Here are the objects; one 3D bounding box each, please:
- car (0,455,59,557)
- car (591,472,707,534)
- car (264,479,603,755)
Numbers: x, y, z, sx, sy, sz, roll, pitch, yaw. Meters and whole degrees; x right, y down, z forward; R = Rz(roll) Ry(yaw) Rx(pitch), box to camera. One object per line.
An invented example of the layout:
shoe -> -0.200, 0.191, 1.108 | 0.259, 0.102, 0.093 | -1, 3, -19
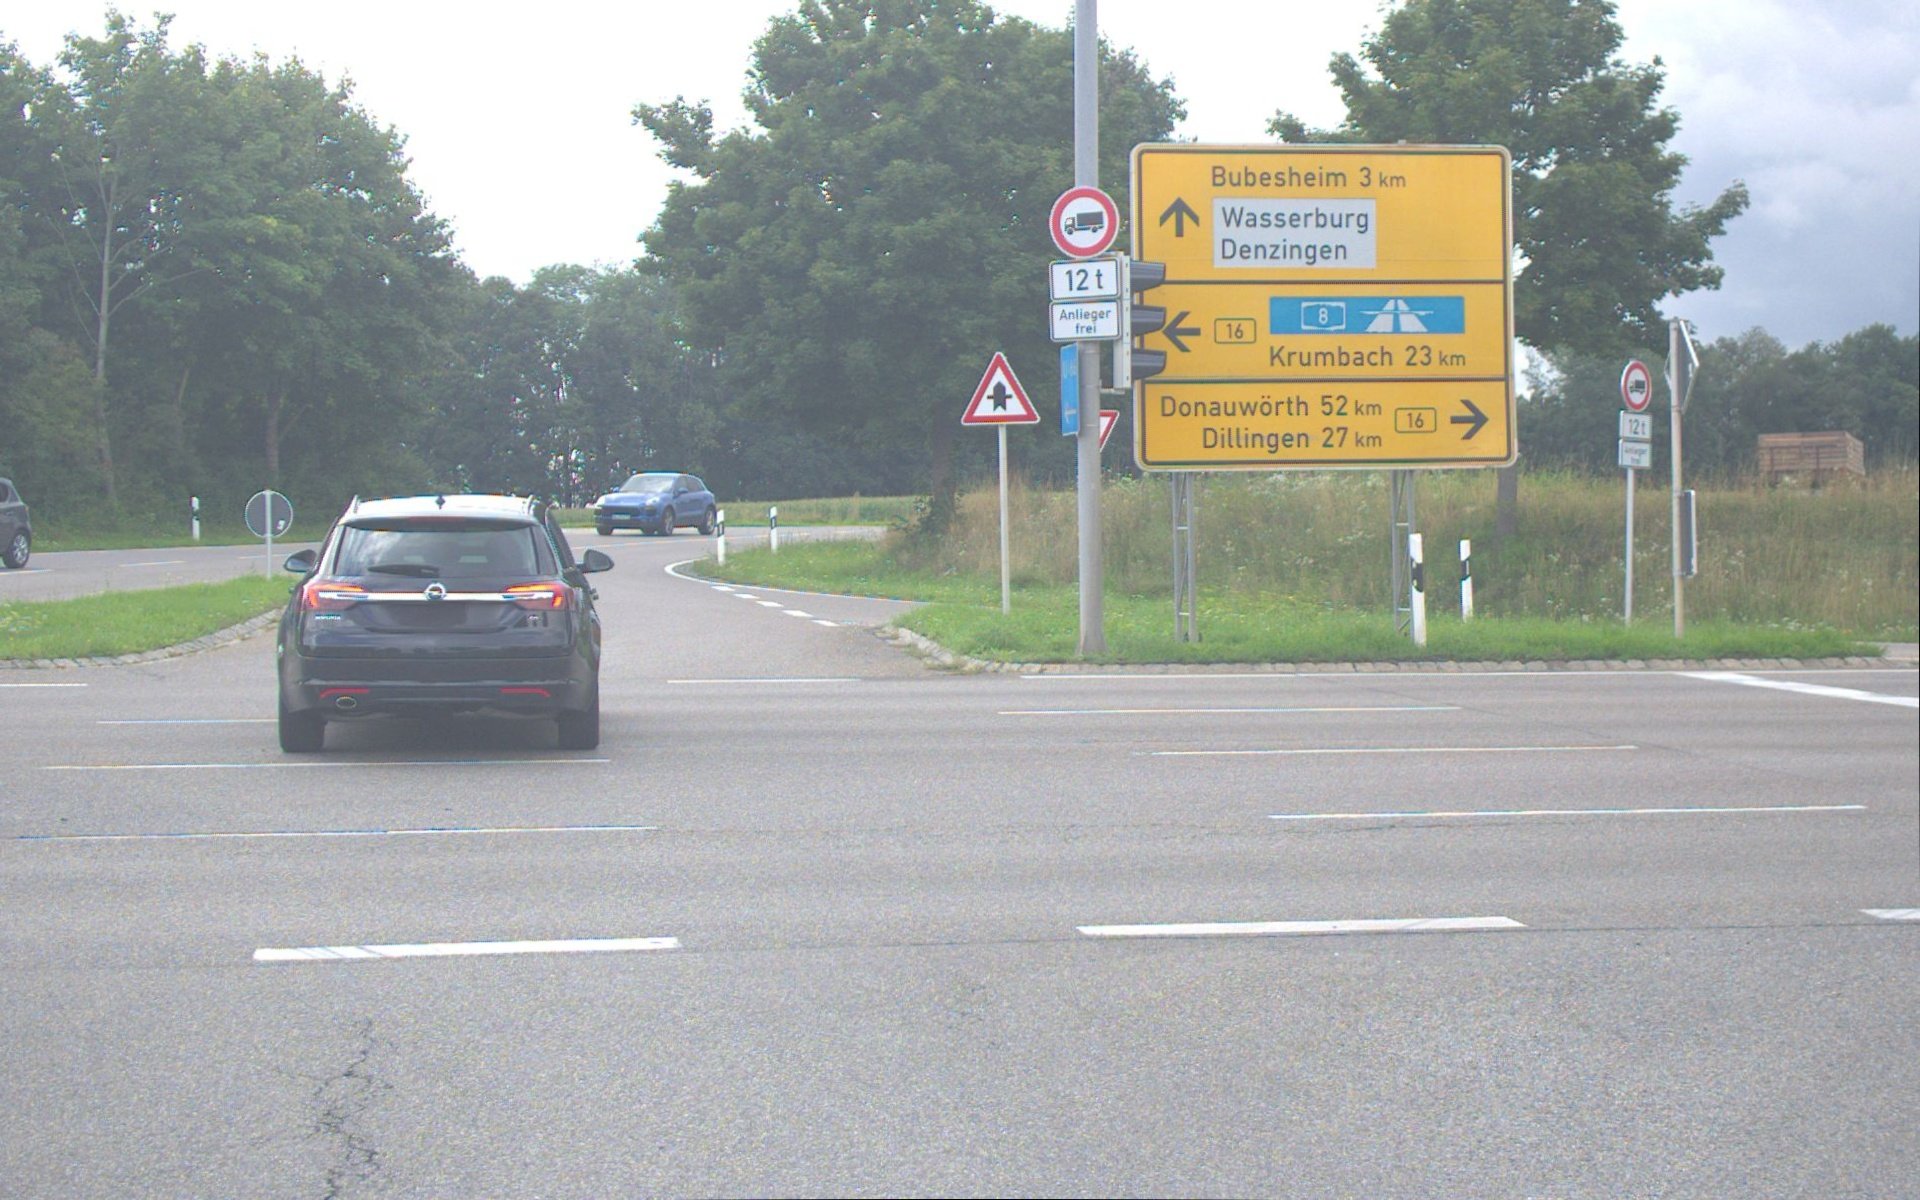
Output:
car -> -15.339, -1.422, 51.892 | 1.994, 1.530, 3.999 | 0, 1, 8
car -> -8.064, -2.528, 89.629 | 1.994, 1.565, 4.755 | 0, 2, 8
car -> -3.083, 0.016, 20.681 | 1.807, 1.445, 4.274 | 0, 2, -7
